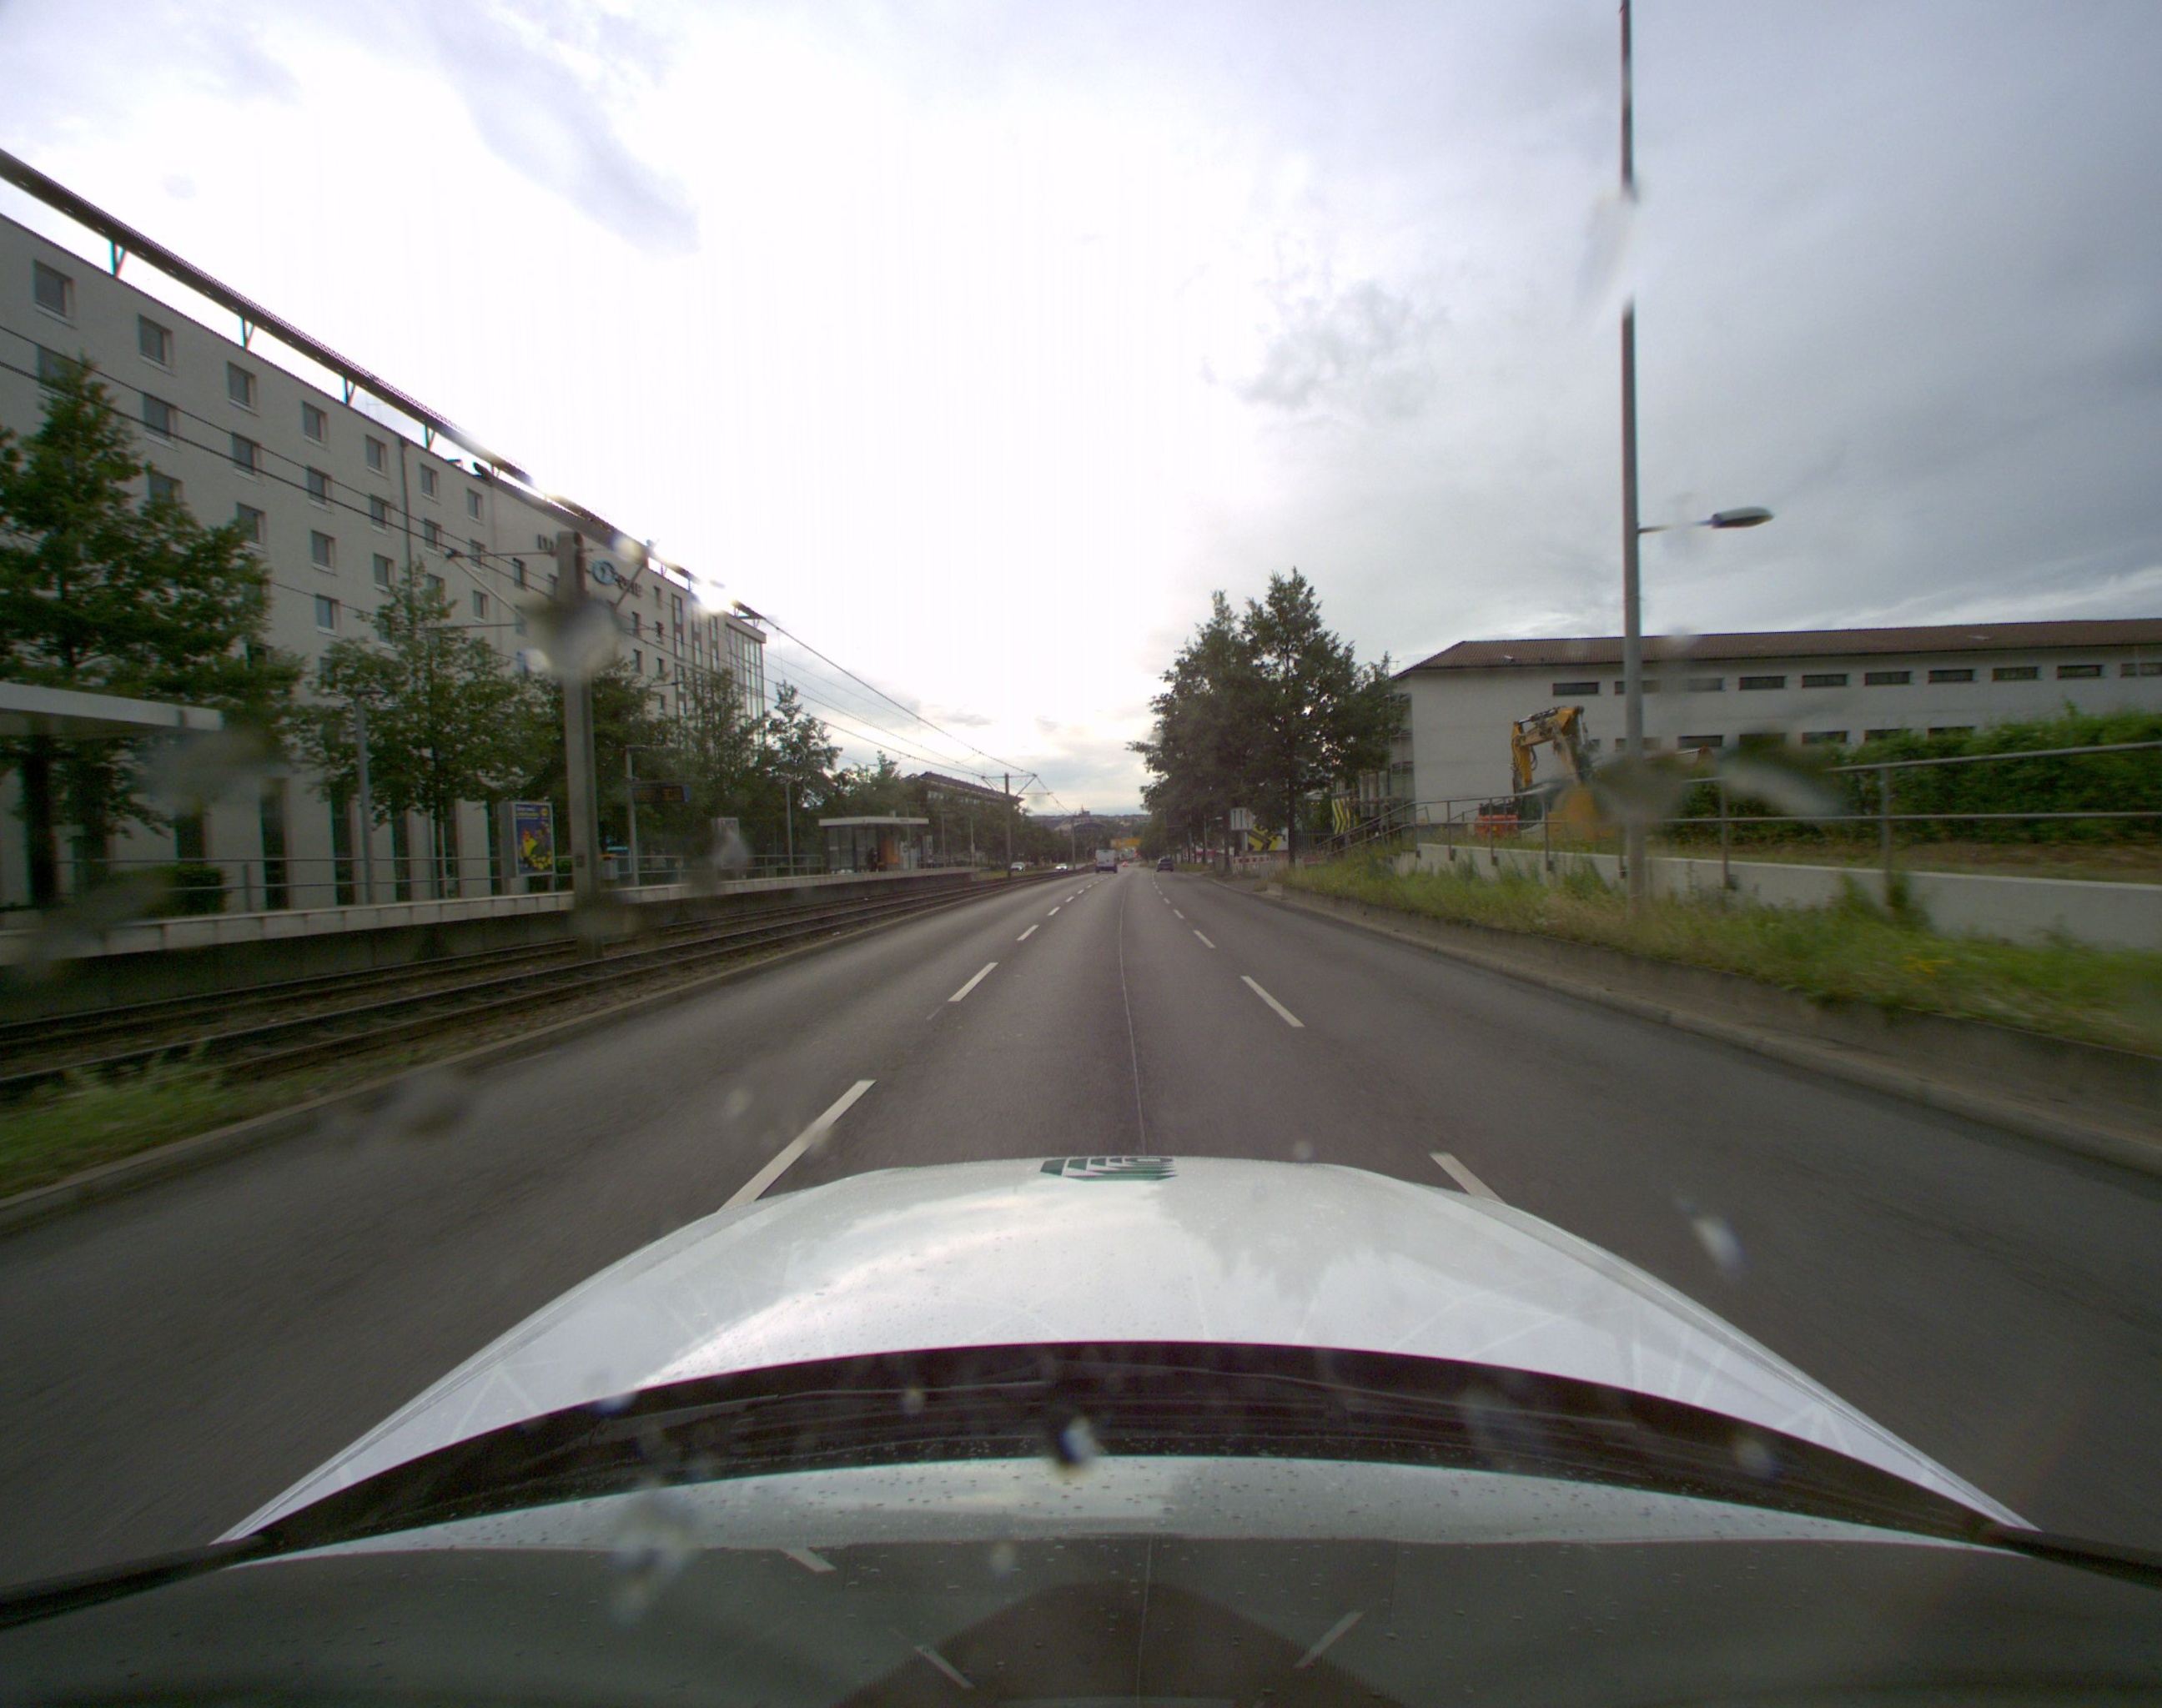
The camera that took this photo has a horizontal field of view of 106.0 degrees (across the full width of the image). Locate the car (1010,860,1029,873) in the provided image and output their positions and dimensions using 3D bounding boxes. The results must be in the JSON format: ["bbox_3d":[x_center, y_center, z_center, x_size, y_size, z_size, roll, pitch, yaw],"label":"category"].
[{"bbox_3d":[-9.297,1.888,123.146,1.985,1.847,5.007,-3,0,4],"label":"car"}]

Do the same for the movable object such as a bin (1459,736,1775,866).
[{"bbox_3d":[24.769,-2.342,38.225,12.097,5.261,3.790,-2,-1,1],"label":"movable object such as a bin"}]

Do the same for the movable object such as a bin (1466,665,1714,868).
[{"bbox_3d":[16.339,-2.394,27.257,3.275,5.685,8.773,0,-1,4],"label":"movable object such as a bin"}]

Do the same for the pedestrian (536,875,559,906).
[{"bbox_3d":[-27.646,1.882,42.215,0.597,1.578,0.836,0,-1,3],"label":"pedestrian"}]

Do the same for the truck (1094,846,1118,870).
[{"bbox_3d":[2.525,0.427,81.313,2.351,2.262,5.308,0,-1,2],"label":"truck"}]

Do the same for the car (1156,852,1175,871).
[{"bbox_3d":[9.217,0.813,88.935,1.984,2.014,3.939,0,-1,4],"label":"car"}]

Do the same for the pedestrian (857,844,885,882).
[{"bbox_3d":[-11.298,0.500,43.921,1.121,2.014,1.272,0,-1,4],"label":"pedestrian"}]

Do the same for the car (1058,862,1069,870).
[{"bbox_3d":[-3.598,2.387,167.323,1.829,1.444,4.434,-3,0,4],"label":"car"}]
